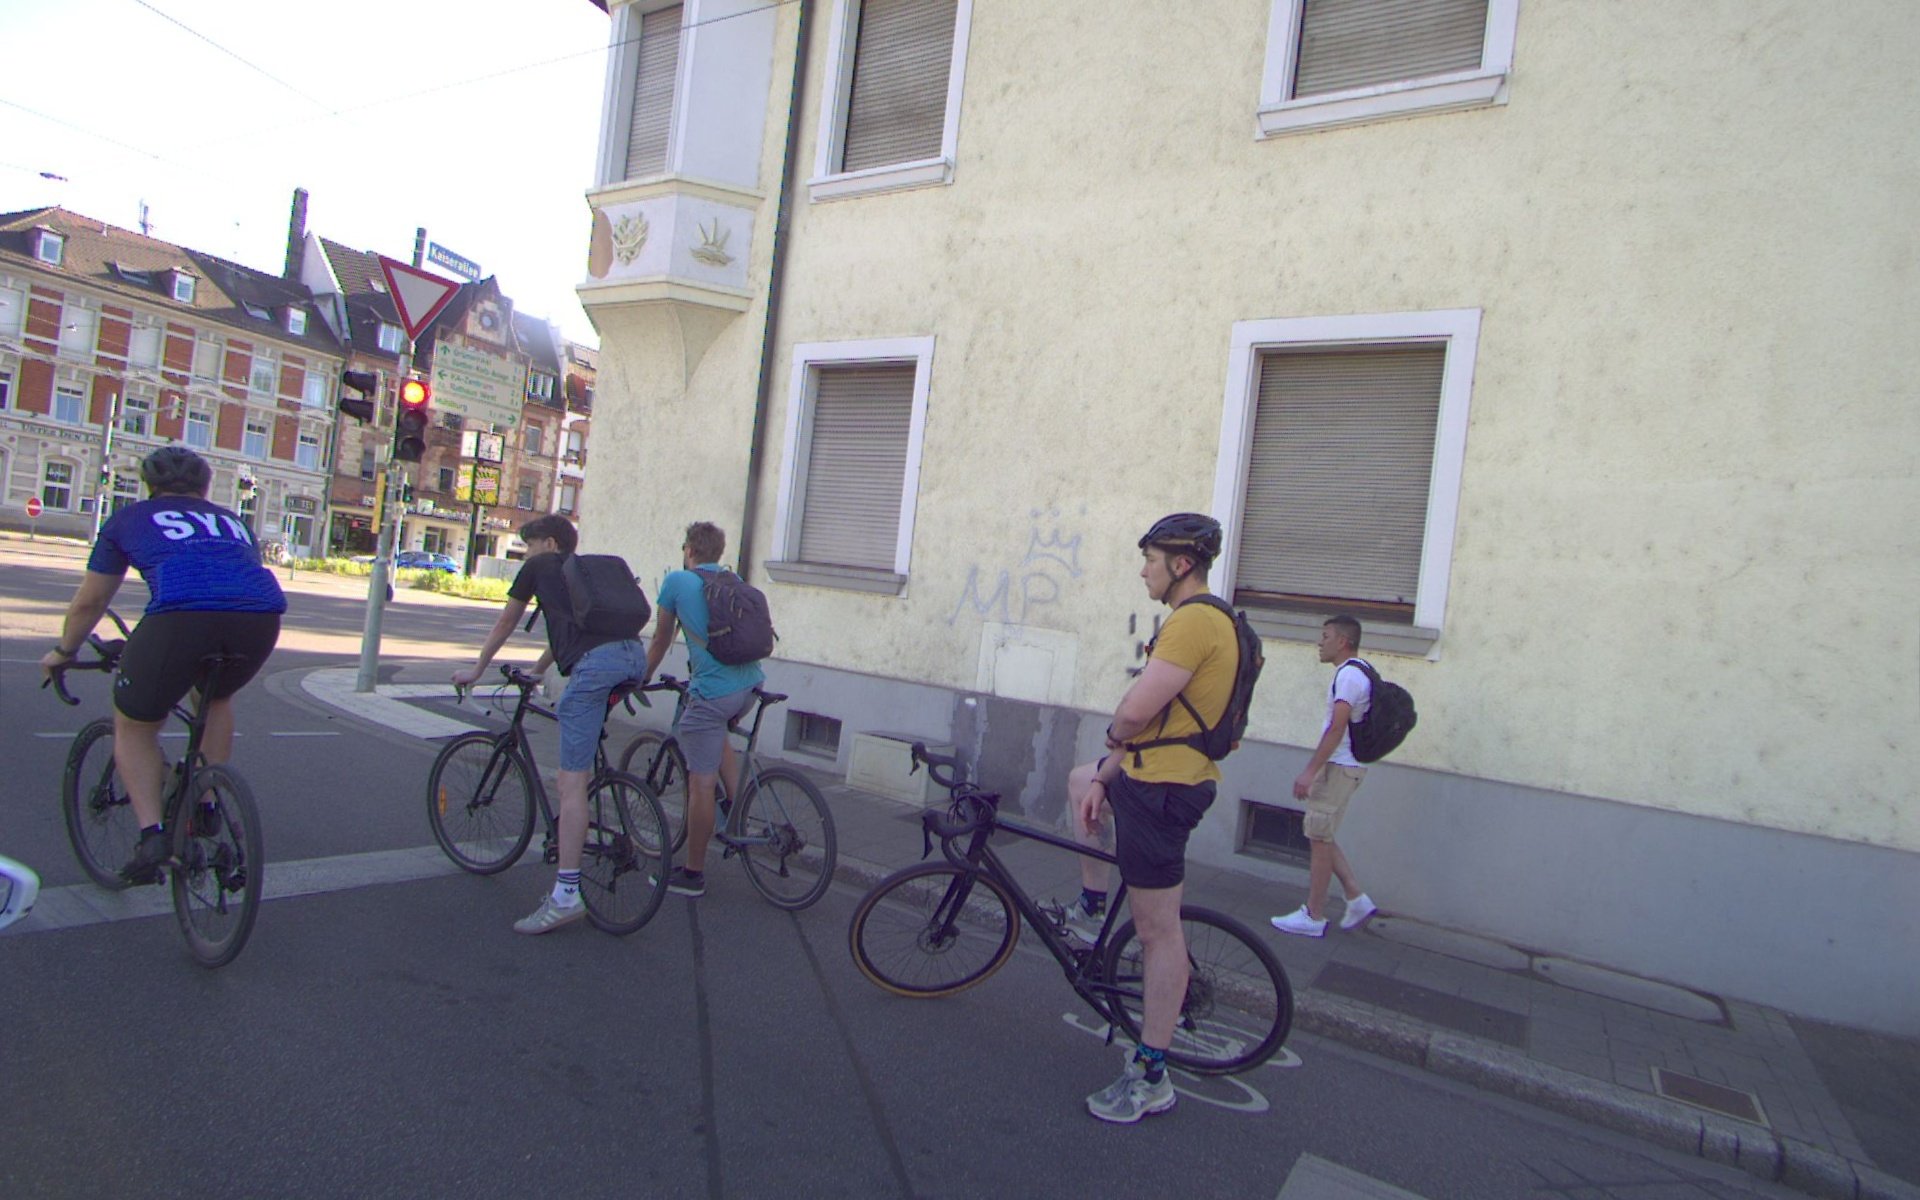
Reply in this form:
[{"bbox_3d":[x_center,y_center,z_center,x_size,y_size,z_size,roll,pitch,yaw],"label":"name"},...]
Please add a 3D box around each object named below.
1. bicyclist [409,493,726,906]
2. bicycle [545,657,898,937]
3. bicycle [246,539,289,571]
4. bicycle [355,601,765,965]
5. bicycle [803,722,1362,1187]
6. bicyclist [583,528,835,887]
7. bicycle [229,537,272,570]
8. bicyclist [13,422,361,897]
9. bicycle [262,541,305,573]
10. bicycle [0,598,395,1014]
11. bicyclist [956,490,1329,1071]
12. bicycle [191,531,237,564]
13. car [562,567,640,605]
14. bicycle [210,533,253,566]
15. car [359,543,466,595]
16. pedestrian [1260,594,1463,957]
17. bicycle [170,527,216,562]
[{"bbox_3d":[-1.766,0.410,4.588,0.868,1.625,0.807,7,-1,30],"label":"bicyclist"},{"bbox_3d":[-1.271,0.934,5.227,1.742,1.043,0.650,6,-1,33],"label":"bicycle"},{"bbox_3d":[-33.043,-2.151,47.995,2.618,1.301,0.629,6,-1,33],"label":"bicycle"},{"bbox_3d":[-1.855,0.741,4.623,1.674,1.251,0.756,6,-1,30],"label":"bicycle"},{"bbox_3d":[0.400,1.094,3.632,1.751,1.043,0.756,6,-2,33],"label":"bicycle"},{"bbox_3d":[-1.302,0.521,5.247,0.869,1.652,0.690,6,-1,34],"label":"bicyclist"},{"bbox_3d":[-33.410,-2.210,47.365,2.618,1.301,0.629,6,-1,33],"label":"bicycle"},{"bbox_3d":[-2.844,0.179,3.703,0.869,1.512,0.639,9,0,36],"label":"bicyclist"},{"bbox_3d":[-32.673,-2.071,48.584,2.618,1.301,0.629,6,-1,33],"label":"bicycle"},{"bbox_3d":[-2.898,0.643,3.724,1.676,1.097,0.627,6,-1,35],"label":"bicycle"},{"bbox_3d":[0.660,0.541,3.518,0.869,1.682,0.807,6,-1,32],"label":"bicyclist"},{"bbox_3d":[-34.188,-2.414,46.069,2.618,1.301,0.693,6,-1,33],"label":"bicycle"},{"bbox_3d":[-23.236,-0.874,65.288,1.967,1.798,4.374,6,-2,31],"label":"car"},{"bbox_3d":[-33.822,-2.339,46.694,2.618,1.301,0.629,6,-1,33],"label":"bicycle"},{"bbox_3d":[-25.459,-1.421,46.908,1.967,1.798,3.790,6,-2,31],"label":"car"},{"bbox_3d":[2.092,0.893,5.315,0.631,1.780,0.584,4,3,-7],"label":"pedestrian"},{"bbox_3d":[-34.616,-2.514,45.414,2.618,1.301,0.693,6,-1,33],"label":"bicycle"}]
